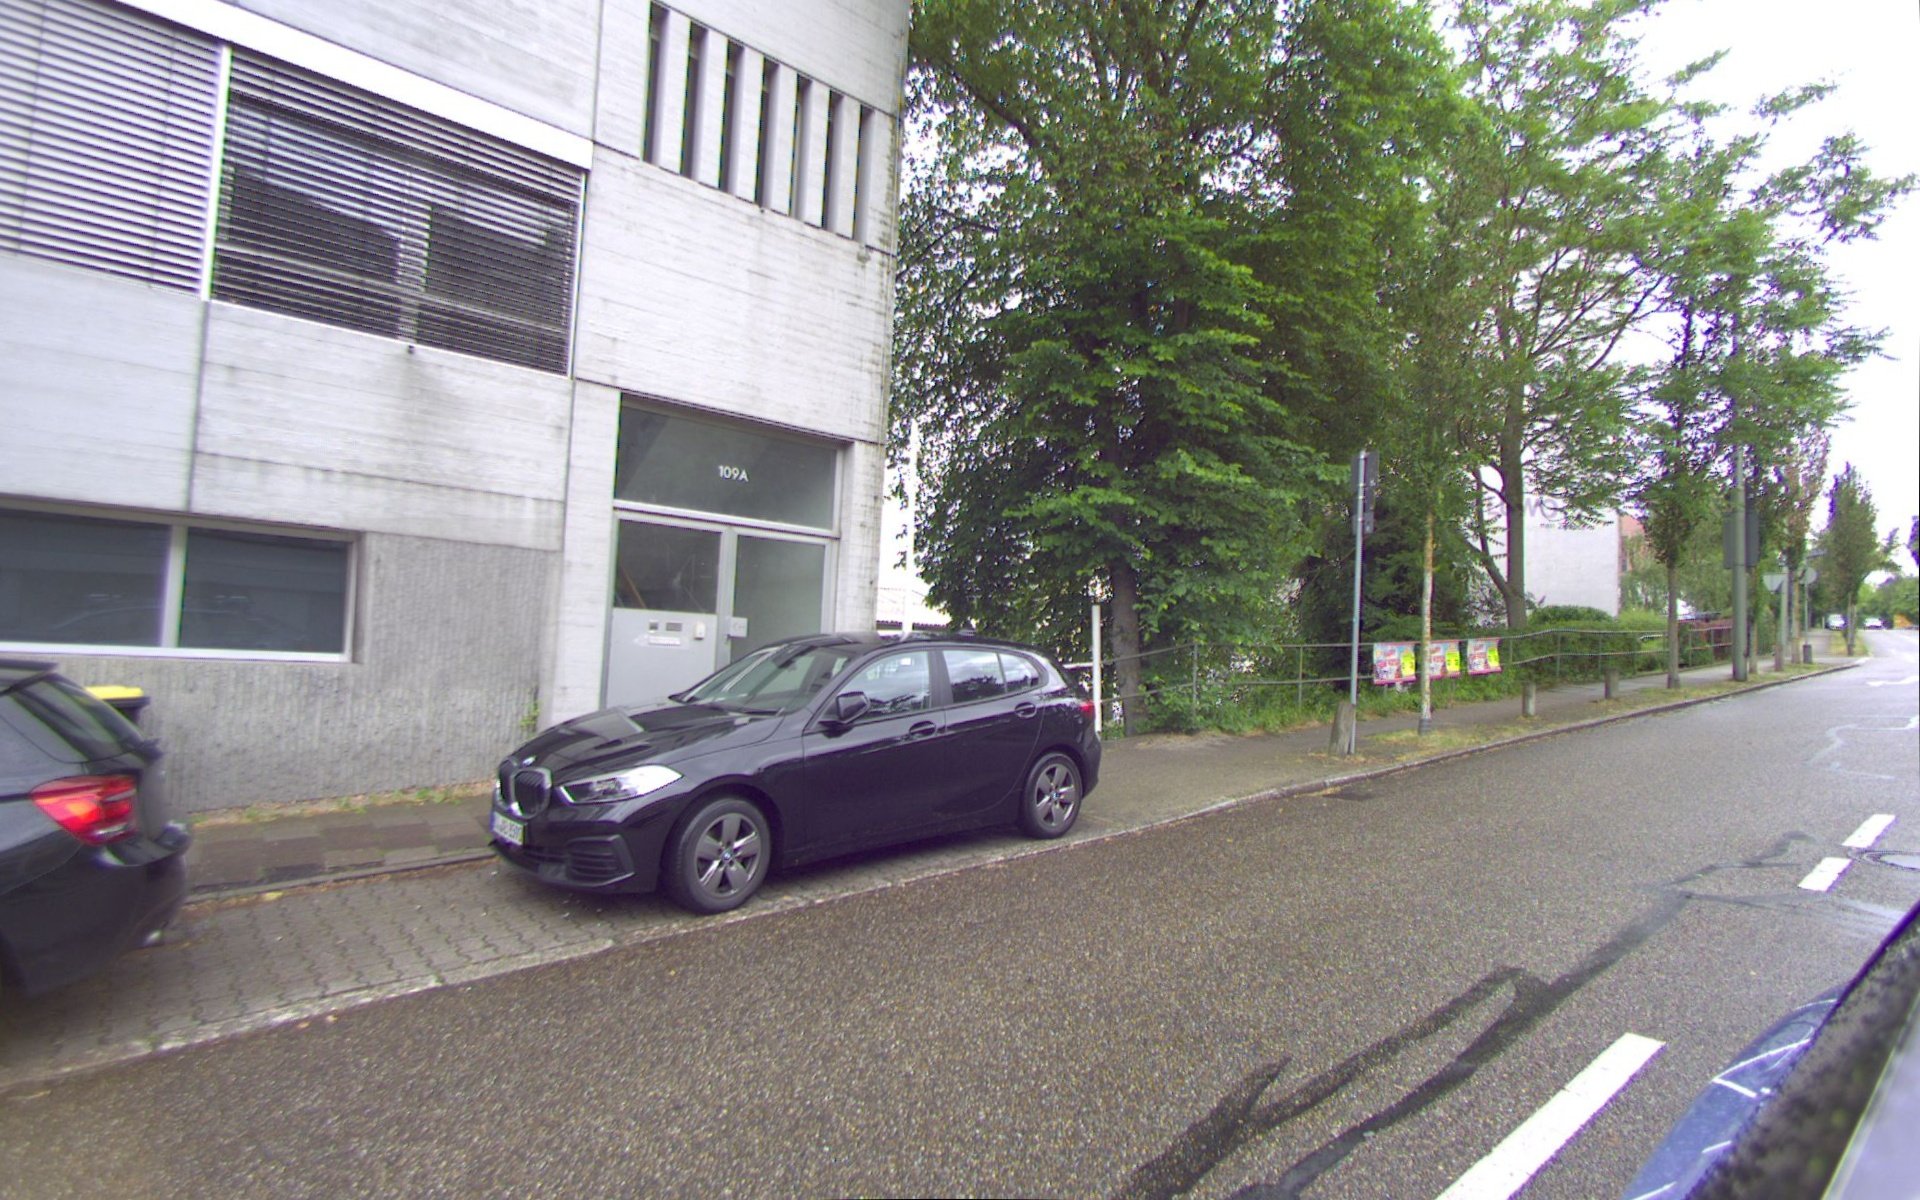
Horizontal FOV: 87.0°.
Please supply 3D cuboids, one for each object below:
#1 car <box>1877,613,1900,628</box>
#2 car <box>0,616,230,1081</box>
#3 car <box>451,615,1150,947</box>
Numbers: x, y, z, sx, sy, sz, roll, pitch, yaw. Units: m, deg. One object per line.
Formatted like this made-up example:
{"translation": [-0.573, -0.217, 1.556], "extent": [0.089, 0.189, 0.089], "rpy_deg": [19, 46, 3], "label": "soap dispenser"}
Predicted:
{"translation": [114.868, 2.525, 125.205], "extent": [4.167, 1.741, 1.889], "rpy_deg": [-1, 2, -44], "label": "car"}
{"translation": [-4.899, 0.845, 3.170], "extent": [4.173, 1.466, 1.753], "rpy_deg": [0, 2, -38], "label": "car"}
{"translation": [-0.835, 0.873, 6.931], "extent": [4.367, 1.453, 1.996], "rpy_deg": [0, 1, -43], "label": "car"}
